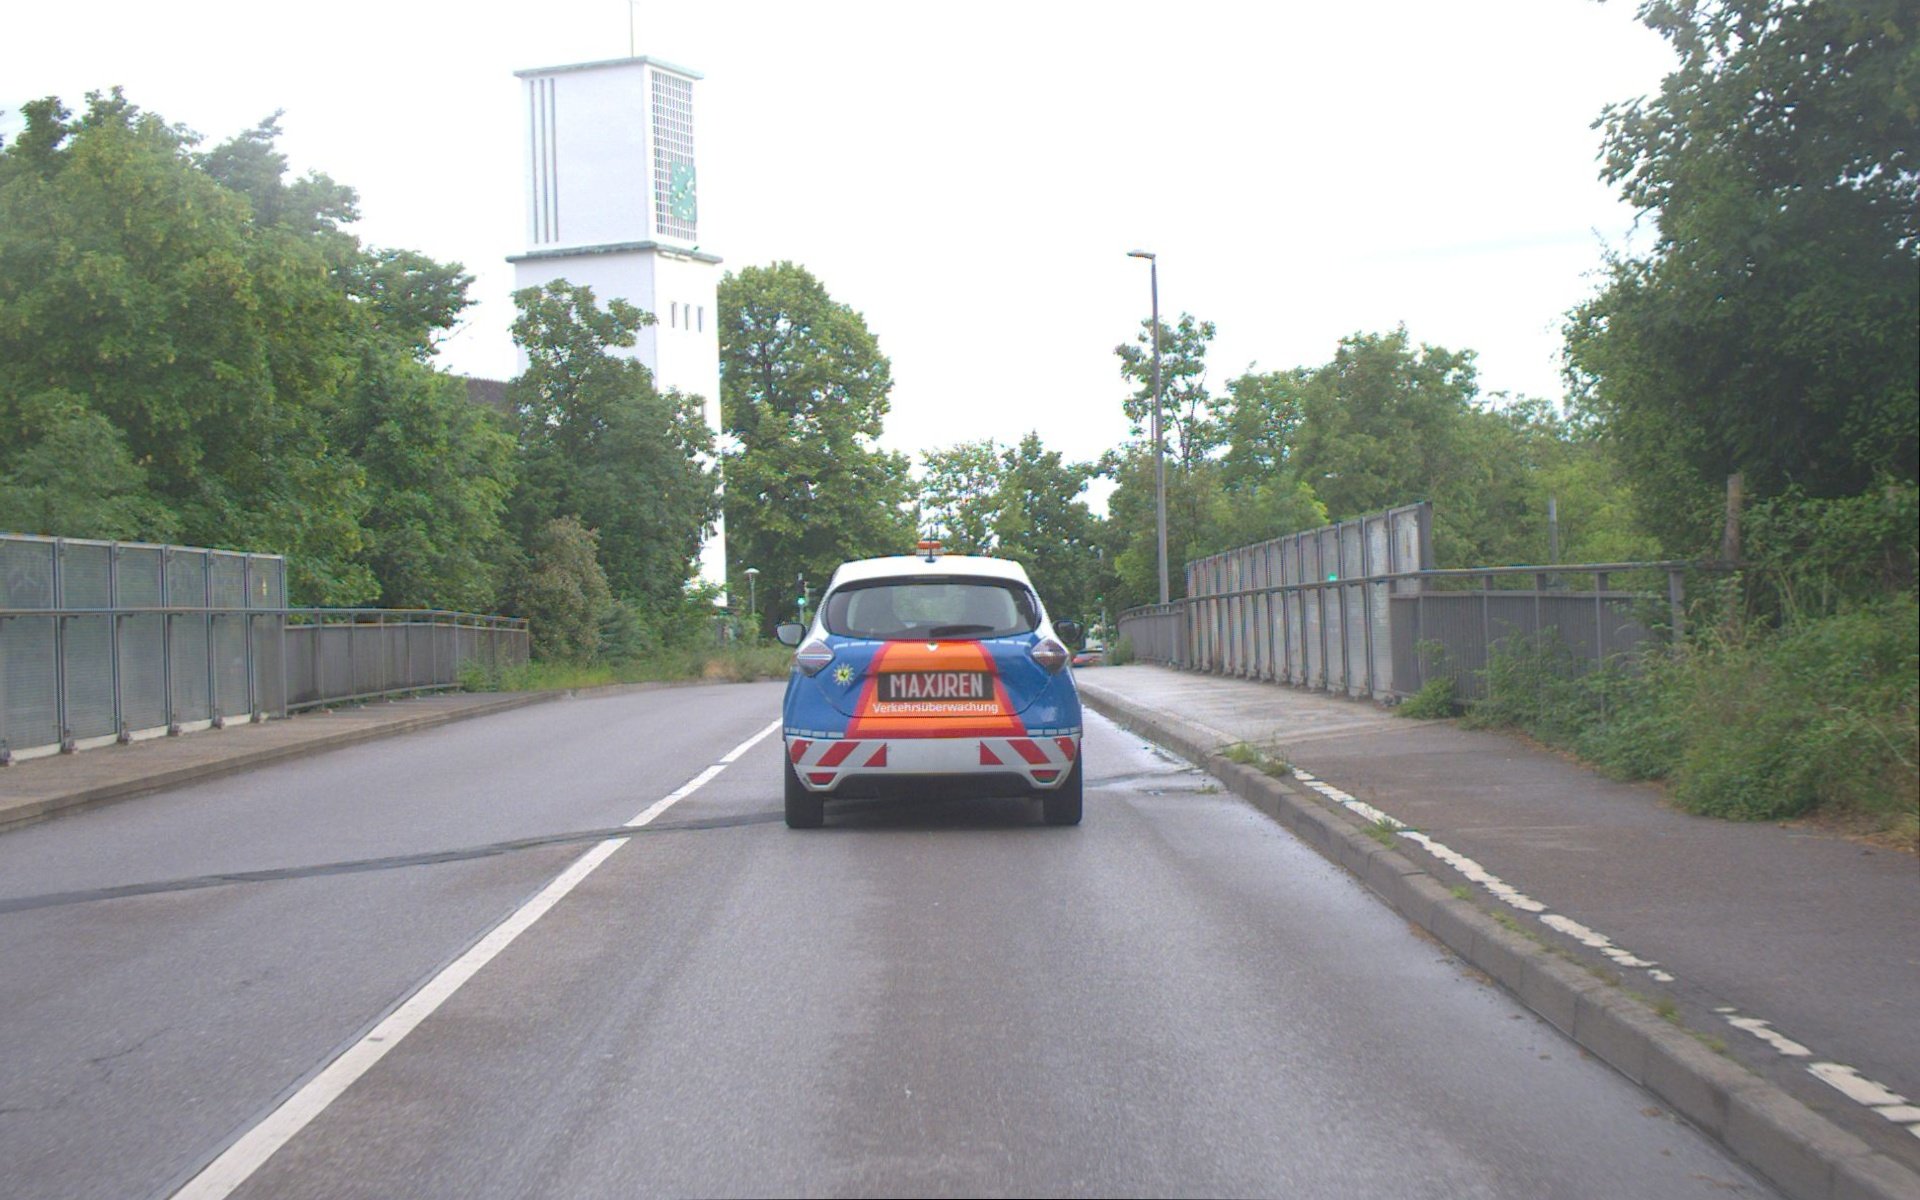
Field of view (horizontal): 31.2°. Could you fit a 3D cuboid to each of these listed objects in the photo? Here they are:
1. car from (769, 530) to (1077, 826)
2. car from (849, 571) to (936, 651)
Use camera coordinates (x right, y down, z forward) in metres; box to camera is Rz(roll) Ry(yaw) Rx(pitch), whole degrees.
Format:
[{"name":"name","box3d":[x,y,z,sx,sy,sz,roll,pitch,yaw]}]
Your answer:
[{"name":"car","box3d":[-0.225,0.410,20.681,1.657,1.587,3.568,-1,1,-1]},{"name":"car","box3d":[-1.486,0.220,75.999,1.802,1.584,3.563,-3,1,-1]}]
